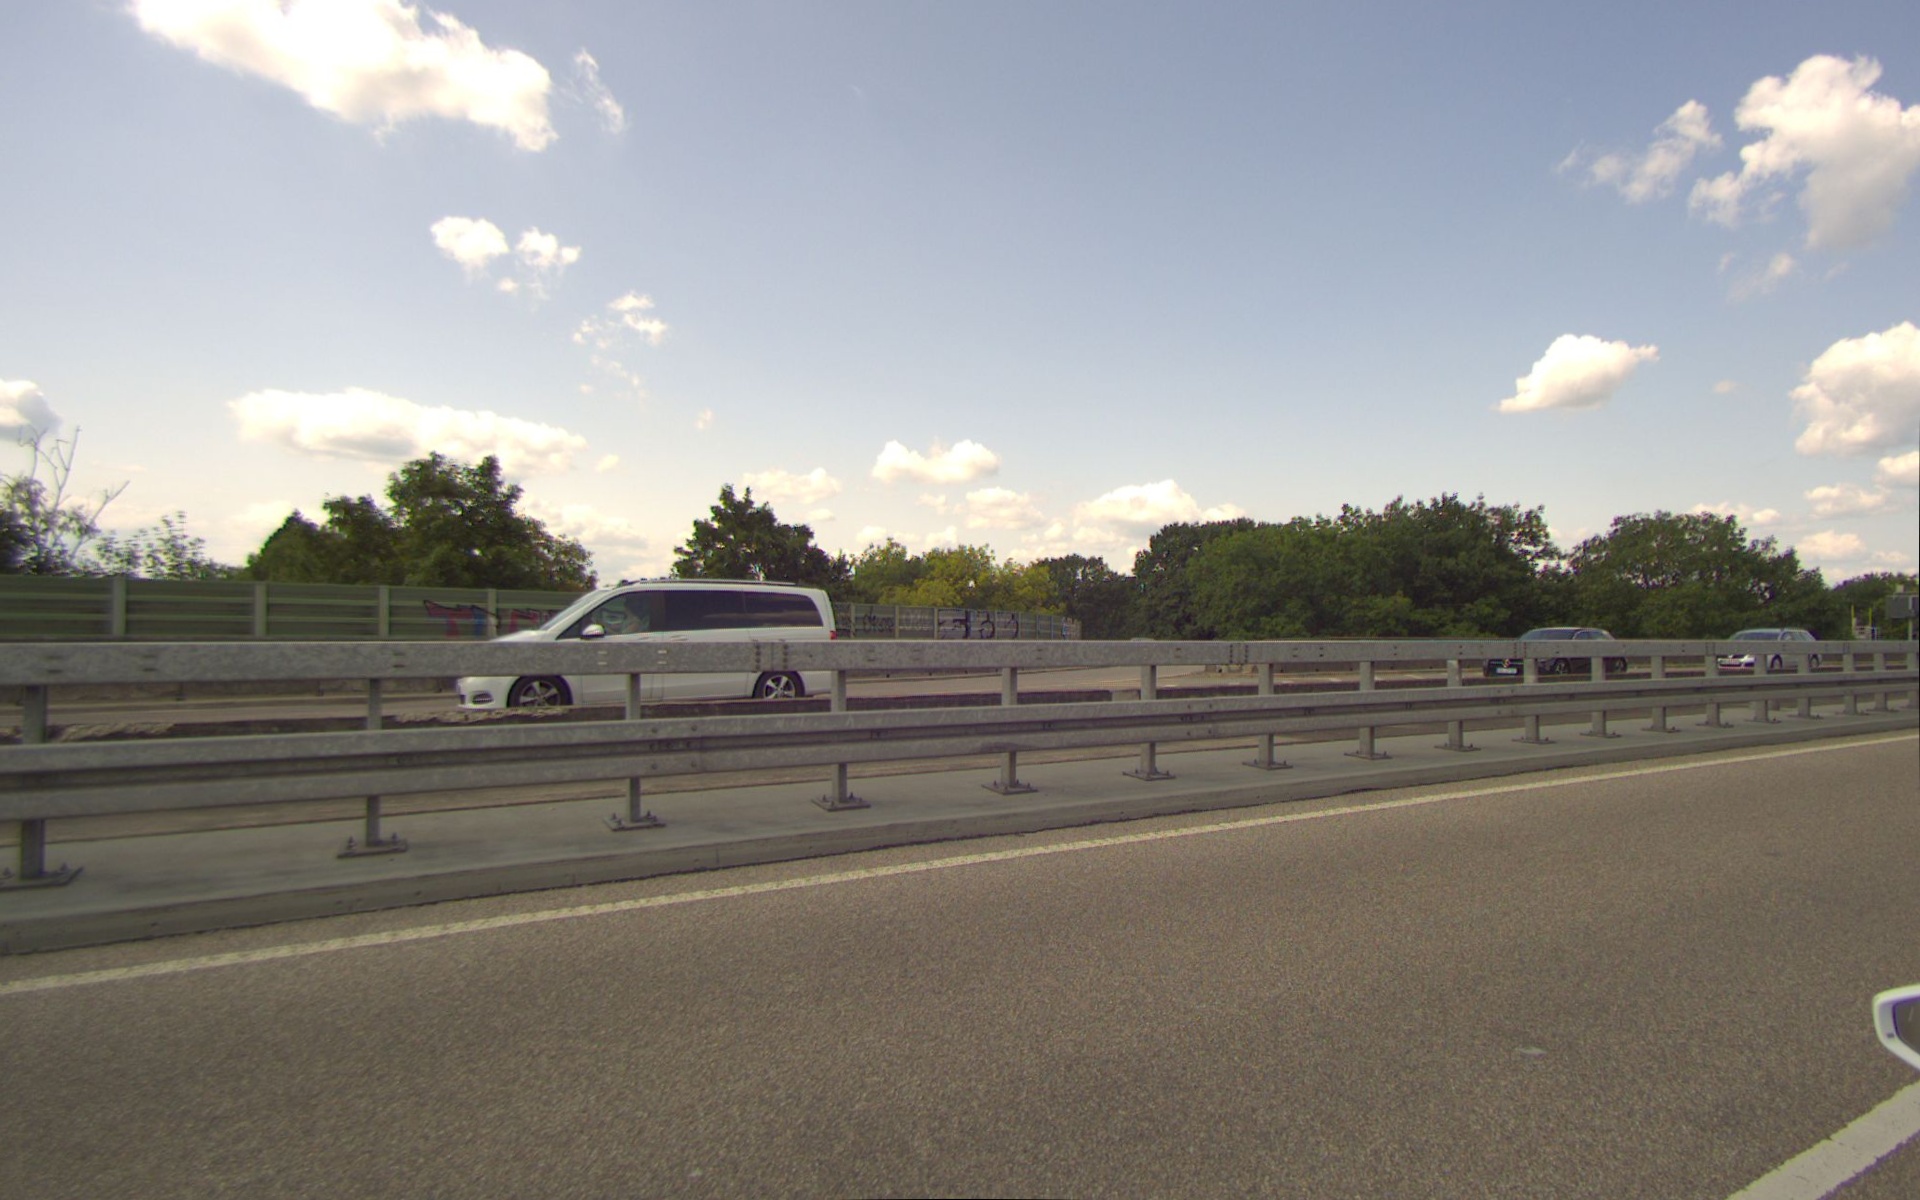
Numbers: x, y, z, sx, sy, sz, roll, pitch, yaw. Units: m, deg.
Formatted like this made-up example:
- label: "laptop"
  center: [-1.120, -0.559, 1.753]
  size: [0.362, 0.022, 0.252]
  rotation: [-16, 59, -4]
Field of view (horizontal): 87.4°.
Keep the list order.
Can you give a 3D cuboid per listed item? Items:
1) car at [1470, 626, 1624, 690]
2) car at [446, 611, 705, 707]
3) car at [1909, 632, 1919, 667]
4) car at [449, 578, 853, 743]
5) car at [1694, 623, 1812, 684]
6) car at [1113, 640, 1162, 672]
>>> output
- label: "car"
  center: [15.126, 1.435, 25.855]
  size: [4.002, 1.408, 1.774]
  rotation: [0, 1, -32]
- label: "car"
  center: [-7.231, 1.040, 19.068]
  size: [4.243, 1.595, 1.910]
  rotation: [1, 0, -37]
- label: "car"
  center: [42.744, 2.153, 43.460]
  size: [3.591, 1.494, 1.589]
  rotation: [1, -3, -32]
- label: "car"
  center: [-4.263, 0.723, 14.215]
  size: [5.135, 1.951, 1.948]
  rotation: [0, 2, -33]
- label: "car"
  center: [25.357, 1.646, 32.089]
  size: [4.362, 1.734, 1.573]
  rotation: [0, 1, -32]
- label: "car"
  center: [9.241, 2.883, 52.536]
  size: [1.616, 1.405, 3.998]
  rotation: [2, 0, -4]
